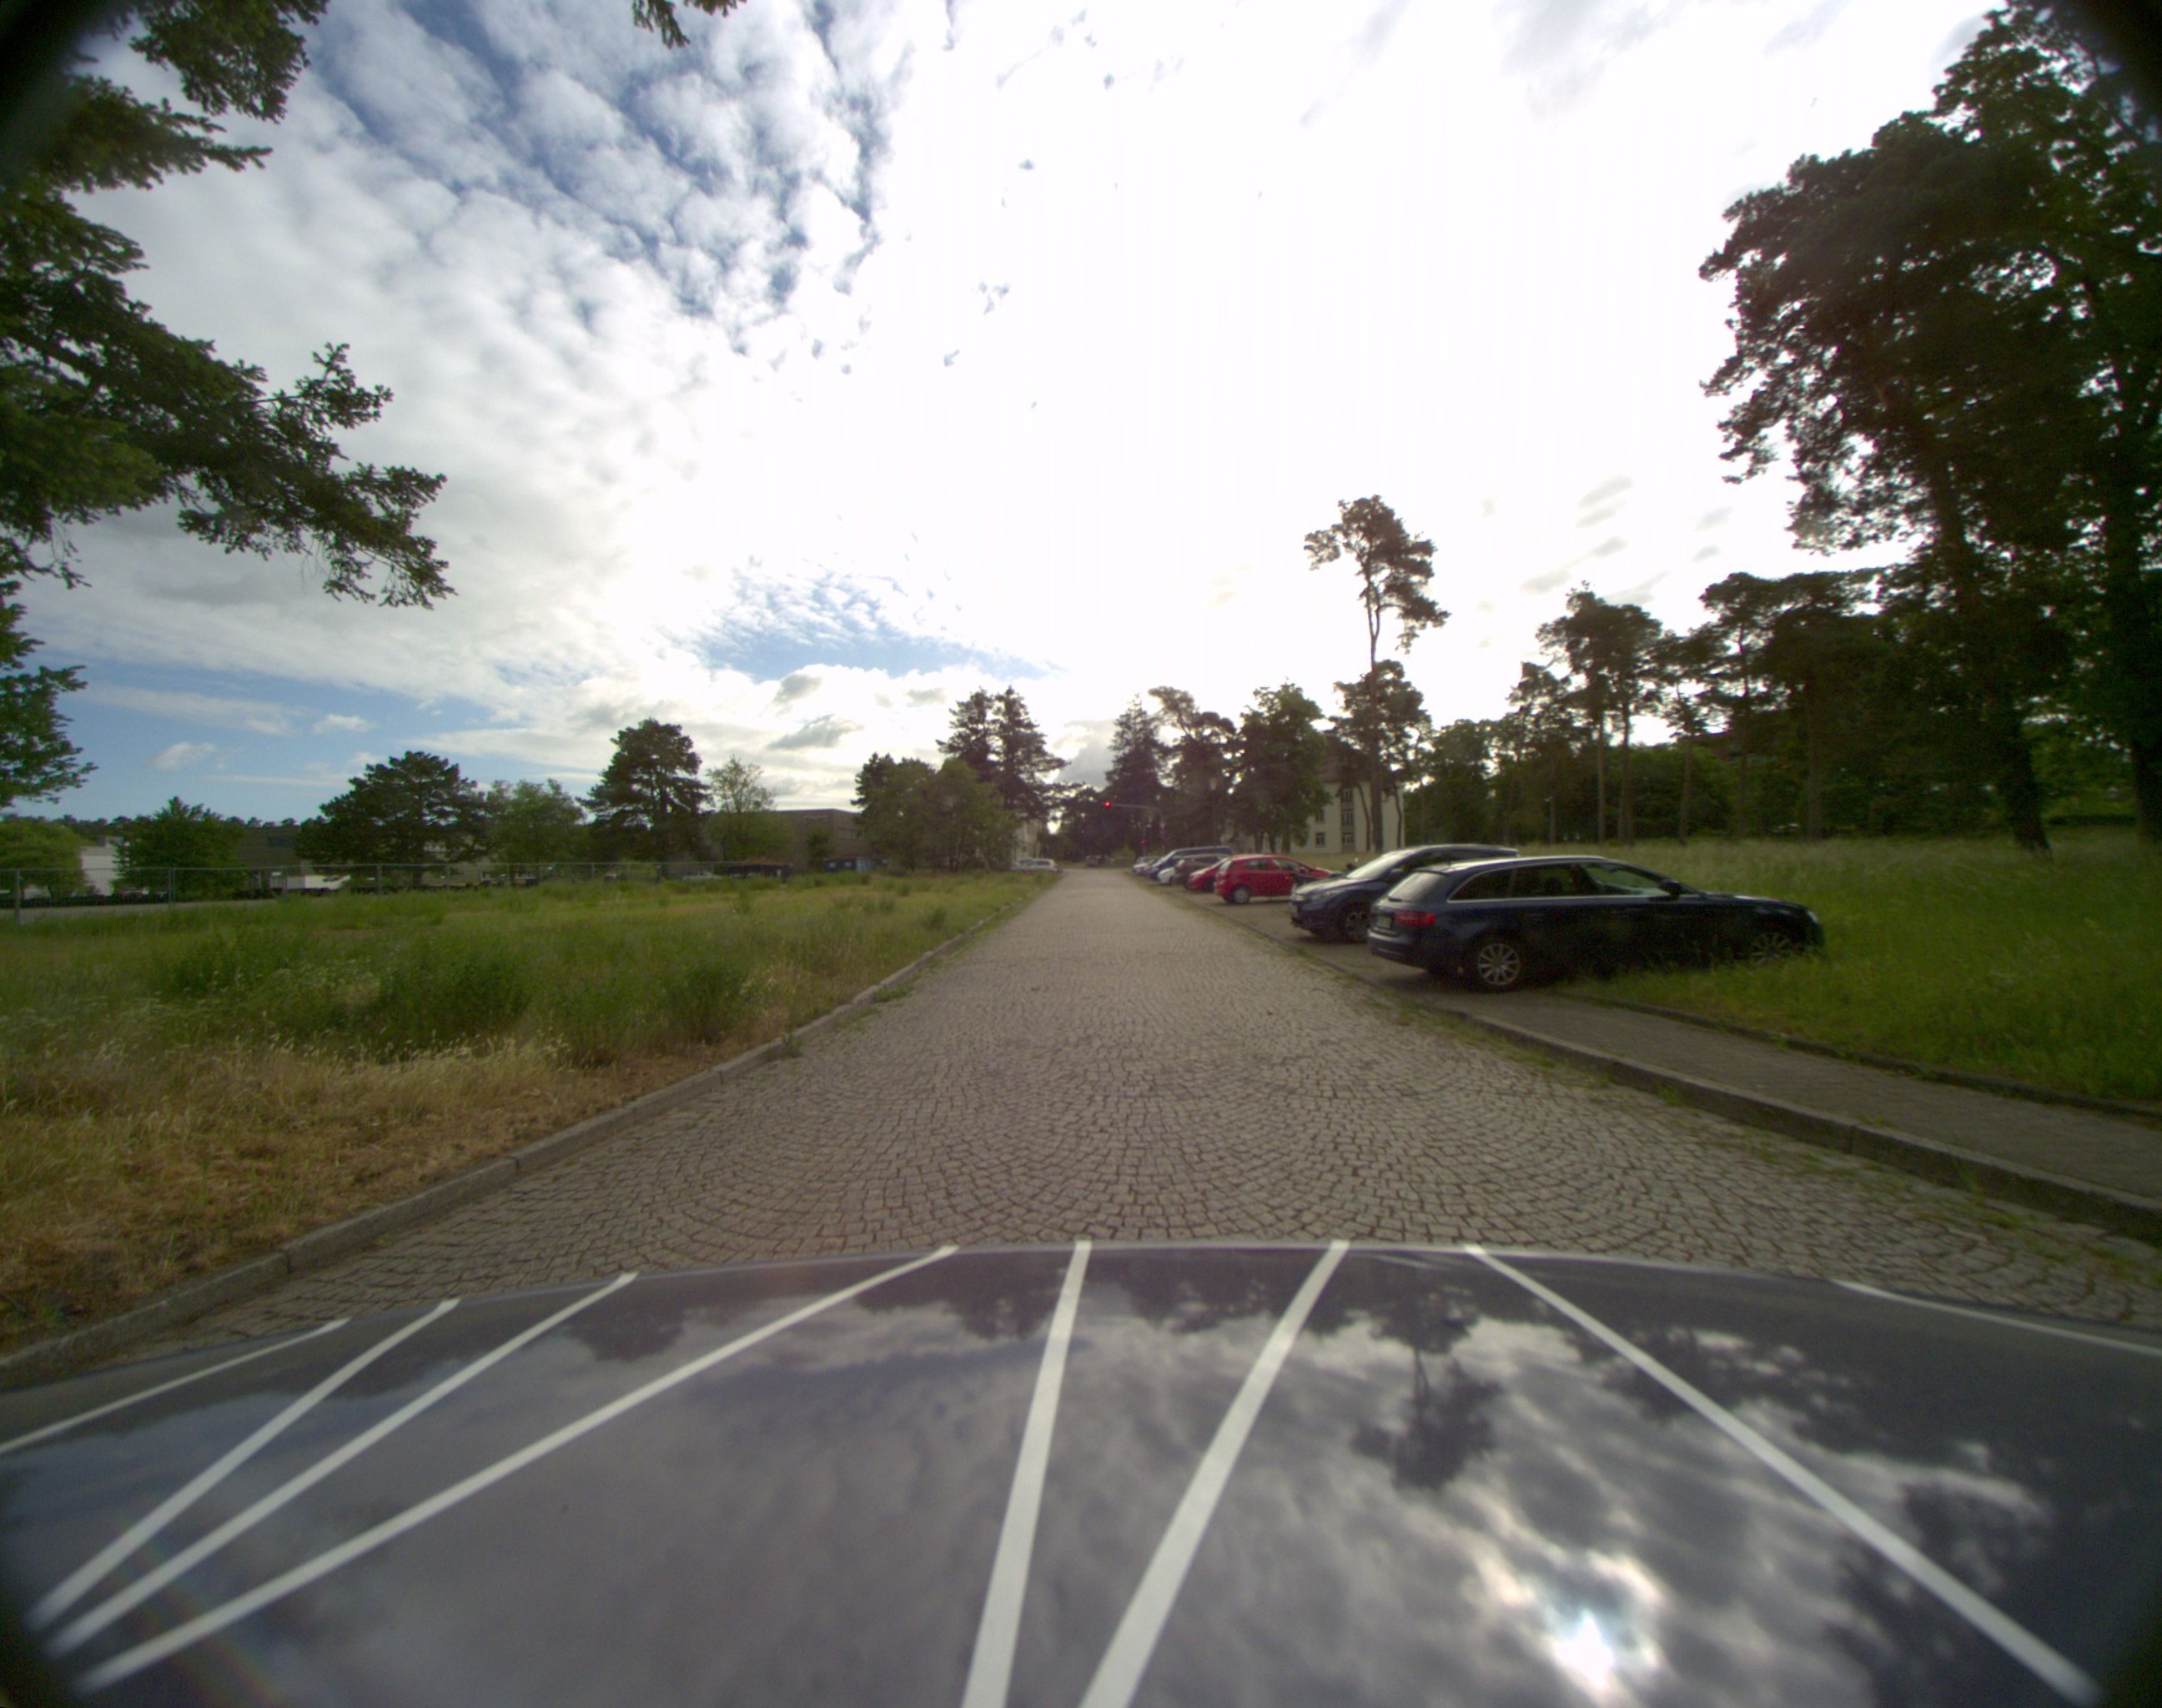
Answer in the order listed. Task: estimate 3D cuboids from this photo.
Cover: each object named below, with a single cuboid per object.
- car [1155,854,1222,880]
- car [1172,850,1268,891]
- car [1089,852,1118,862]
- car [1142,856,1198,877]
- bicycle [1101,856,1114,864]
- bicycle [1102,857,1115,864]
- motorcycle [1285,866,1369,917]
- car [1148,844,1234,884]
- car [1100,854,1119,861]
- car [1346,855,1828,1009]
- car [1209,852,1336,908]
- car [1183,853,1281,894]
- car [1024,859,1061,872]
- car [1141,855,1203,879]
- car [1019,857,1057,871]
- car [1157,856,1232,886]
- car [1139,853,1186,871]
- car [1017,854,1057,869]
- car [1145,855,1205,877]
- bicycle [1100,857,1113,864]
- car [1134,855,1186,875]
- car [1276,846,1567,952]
[{"bbox_3d":[6.765,0.804,48.233,3.950,1.426,1.584,-4,0,-1],"label":"car"},{"bbox_3d":[6.208,0.729,34.225,3.950,1.536,1.764,-4,0,-1],"label":"car"},{"bbox_3d":[3.935,0.589,133.639,4.986,1.612,1.900,-2,0,-6],"label":"car"},{"bbox_3d":[6.658,0.939,57.008,3.950,1.331,1.584,-4,0,-1],"label":"car"},{"bbox_3d":[4.058,0.945,116.298,1.862,1.088,0.510,-2,1,-7],"label":"bicycle"},{"bbox_3d":[4.266,0.975,117.124,1.862,1.088,0.510,-2,1,-7],"label":"bicycle"},{"bbox_3d":[6.227,0.934,19.259,1.914,1.186,0.550,-2,1,-4],"label":"motorcycle"},{"bbox_3d":[6.189,0.555,43.081,4.542,1.891,1.793,-4,0,-1],"label":"car"},{"bbox_3d":[4.857,0.632,130.361,3.118,1.046,1.339,-2,0,-6],"label":"car"},{"bbox_3d":[5.588,0.835,8.866,4.350,1.397,1.764,-3,0,3],"label":"car"},{"bbox_3d":[5.943,0.778,23.858,3.497,1.473,1.602,-4,0,-1],"label":"car"},{"bbox_3d":[6.225,0.783,31.518,3.661,1.413,1.577,-4,0,-1],"label":"car"},{"bbox_3d":[-3.436,1.012,68.462,3.268,1.081,1.396,-2,0,-3],"label":"car"},{"bbox_3d":[6.101,0.857,51.305,3.950,1.331,1.584,-4,0,-1],"label":"car"},{"bbox_3d":[-3.728,0.860,66.007,3.268,1.081,1.449,-2,0,-3],"label":"car"},{"bbox_3d":[6.041,0.895,40.564,3.692,1.331,1.584,-4,0,-1],"label":"car"},{"bbox_3d":[7.146,0.658,66.841,3.950,1.331,1.584,-4,0,-1],"label":"car"},{"bbox_3d":[-4.093,0.694,71.449,3.593,1.203,1.584,-2,0,-1],"label":"car"},{"bbox_3d":[6.688,0.834,54.291,3.950,1.331,1.584,-4,0,-1],"label":"car"},{"bbox_3d":[3.907,1.001,115.864,1.862,1.088,0.510,-2,1,-7],"label":"bicycle"},{"bbox_3d":[6.358,0.887,61.398,3.950,1.331,1.584,-4,0,-1],"label":"car"},{"bbox_3d":[5.916,0.754,13.561,4.363,1.553,1.764,-3,0,-1],"label":"car"}]
